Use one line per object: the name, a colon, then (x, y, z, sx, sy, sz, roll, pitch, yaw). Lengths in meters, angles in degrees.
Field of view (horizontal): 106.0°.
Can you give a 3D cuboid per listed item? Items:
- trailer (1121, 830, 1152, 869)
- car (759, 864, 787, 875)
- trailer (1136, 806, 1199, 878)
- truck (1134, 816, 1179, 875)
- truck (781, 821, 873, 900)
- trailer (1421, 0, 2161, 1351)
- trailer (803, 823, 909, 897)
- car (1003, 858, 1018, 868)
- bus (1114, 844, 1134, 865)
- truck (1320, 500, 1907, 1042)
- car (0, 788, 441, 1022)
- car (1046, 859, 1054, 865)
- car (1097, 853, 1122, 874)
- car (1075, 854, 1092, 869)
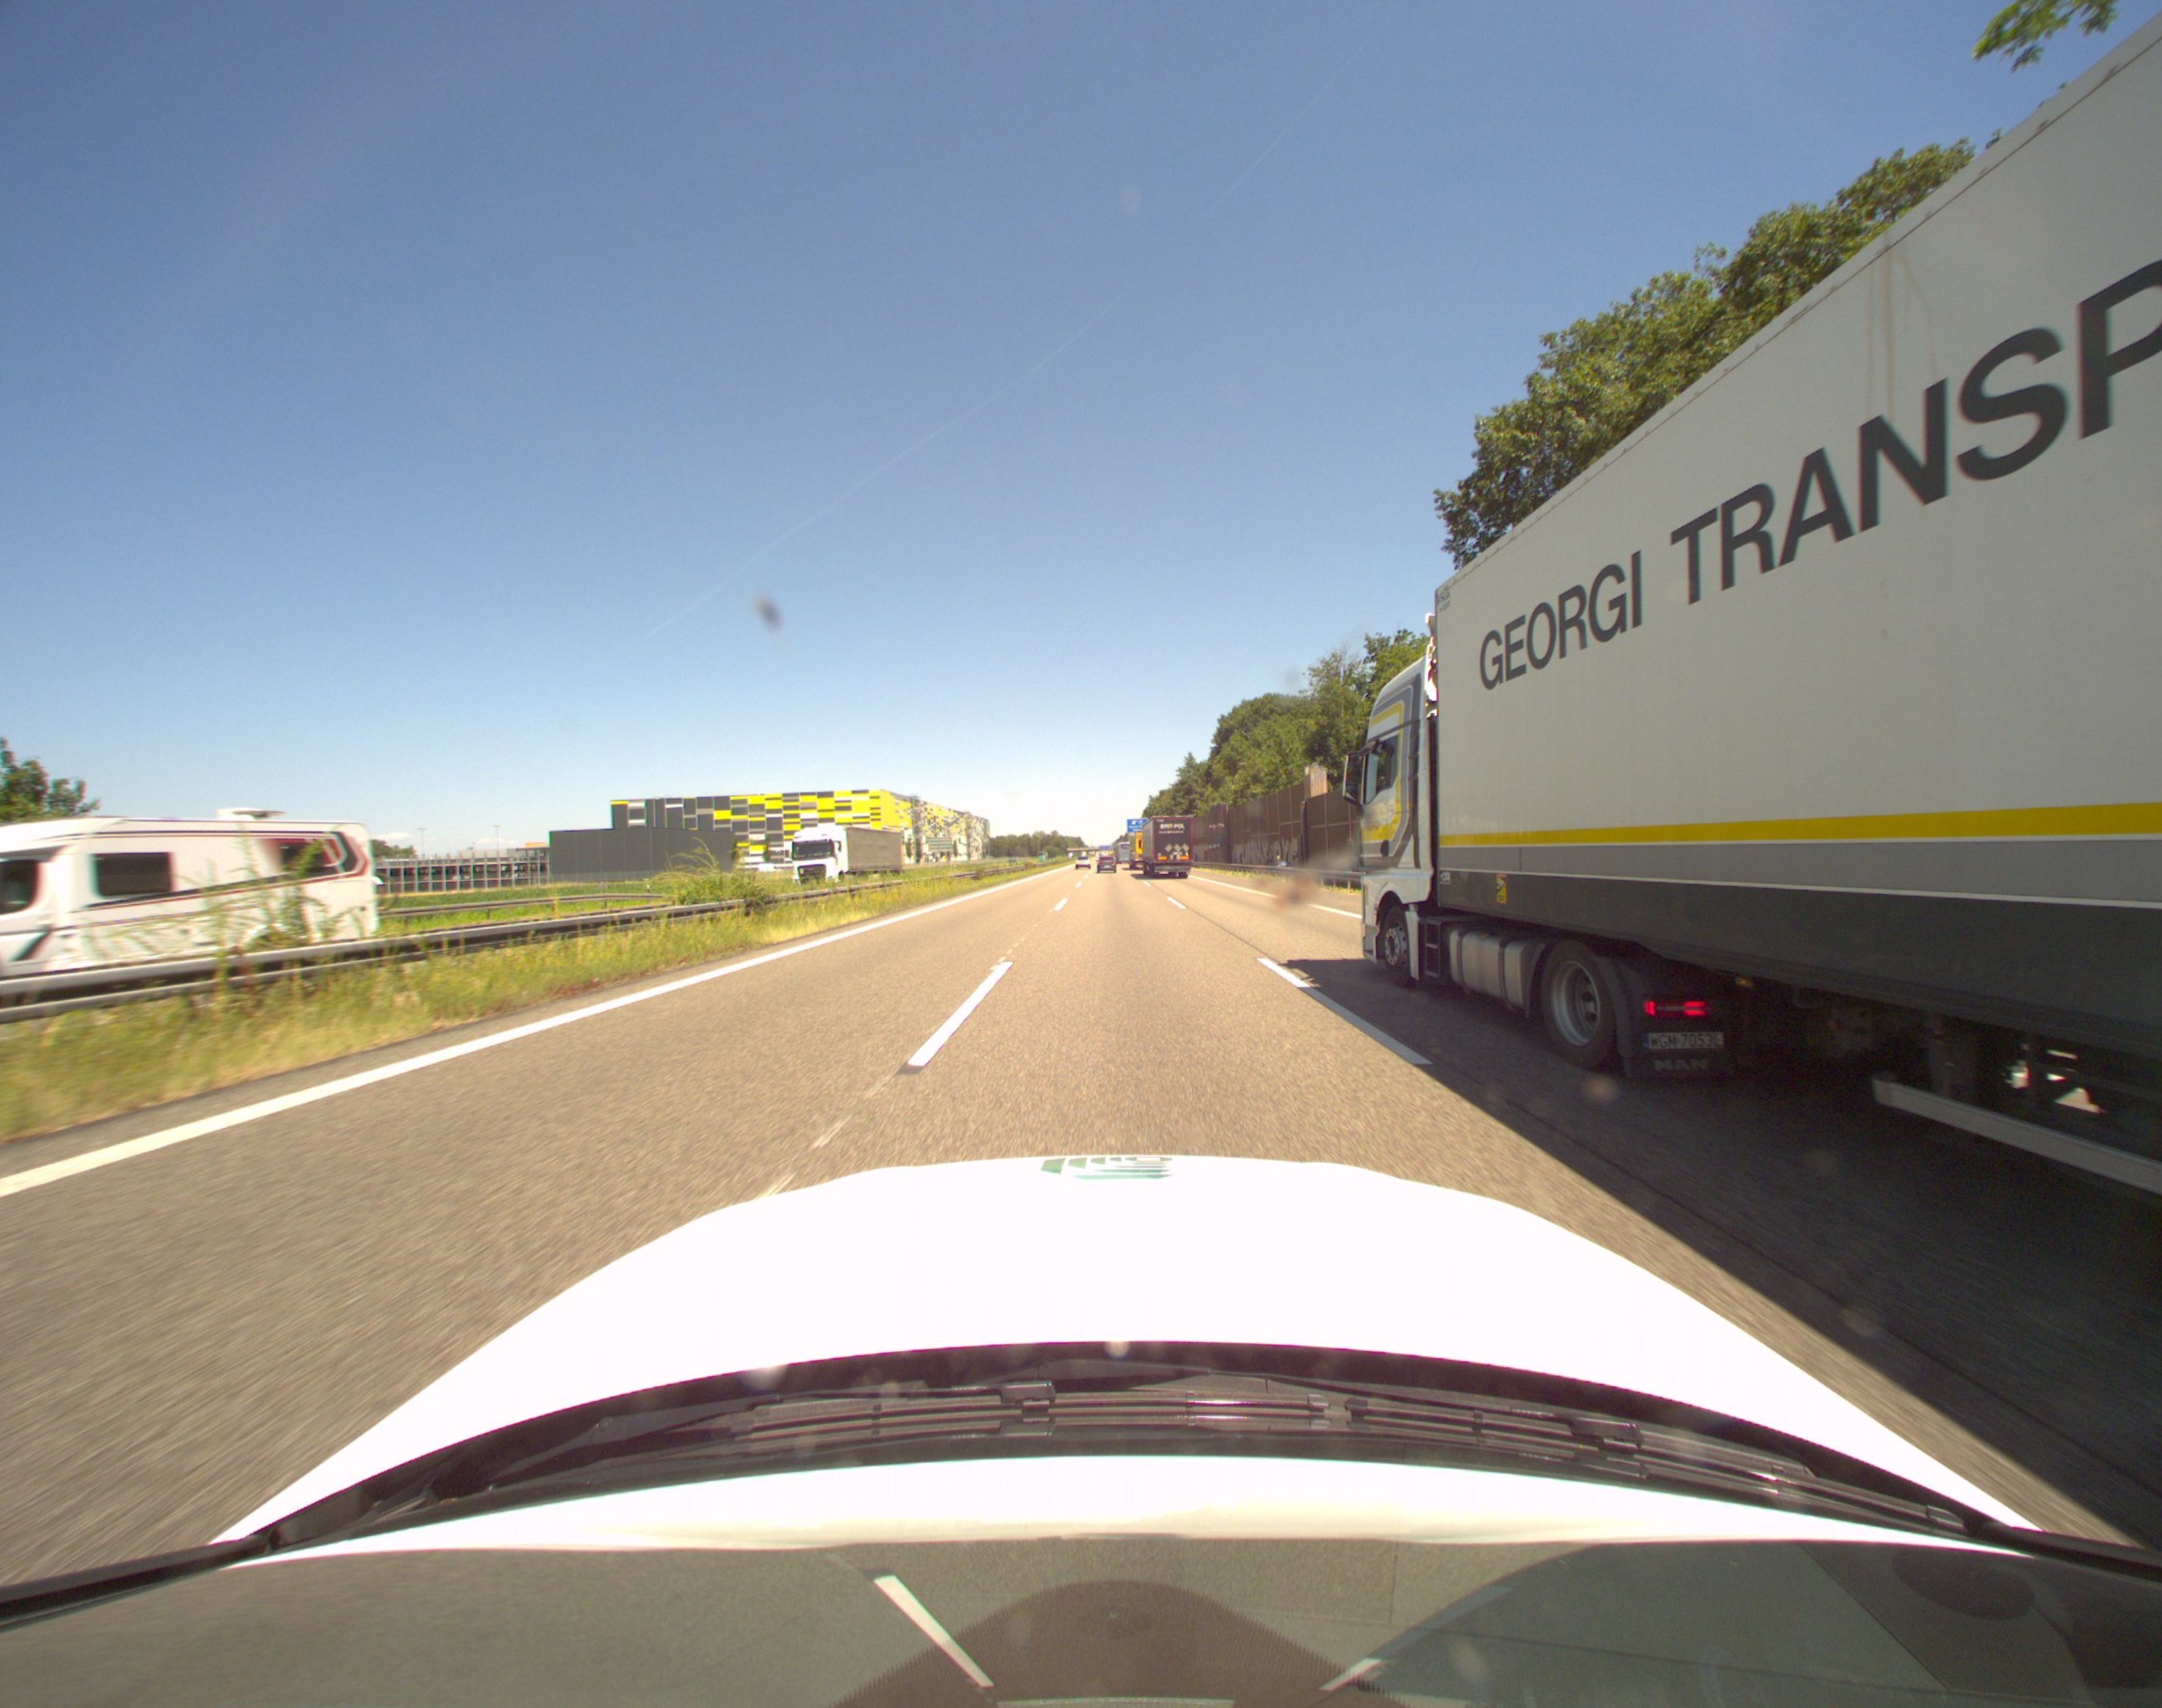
trailer: (5.899, -0.441, 88.444, 2.824, 3.953, 11.686, -1, 0, 1)
car: (-68.521, 3.456, 181.273, 5.628, 2.178, 2.088, -2, 0, -31)
trailer: (5.908, -0.700, 58.359, 3.095, 4.507, 14.897, -1, 0, 1)
truck: (5.999, -0.611, 65.406, 3.077, 4.441, 6.053, -1, -1, 1)
truck: (-15.562, 0.382, 50.485, 3.149, 4.426, 6.982, -2, -1, 1)
trailer: (4.642, -0.692, 1.175, 2.982, 4.289, 13.421, -1, 0, 1)
trailer: (-15.370, 0.445, 57.238, 3.184, 4.422, 13.330, -3, -1, 1)
car: (-12.813, 1.602, 147.952, 1.986, 1.680, 5.554, -3, -1, 2)
bus: (7.378, 0.075, 140.544, 3.052, 3.326, 8.273, -3, 0, 0)
truck: (4.854, -0.622, 8.898, 2.992, 4.125, 5.254, -1, -1, 1)
car: (-14.885, 0.671, 13.010, 2.536, 2.982, 8.091, -1, 0, 3)
car: (-9.608, 2.474, 250.055, 1.986, 1.639, 5.665, -3, 0, 2)
car: (2.595, 0.855, 75.491, 2.208, 1.790, 5.394, -2, 0, 1)
car: (0.299, 0.866, 97.030, 1.987, 1.728, 4.131, -1, 0, 1)
